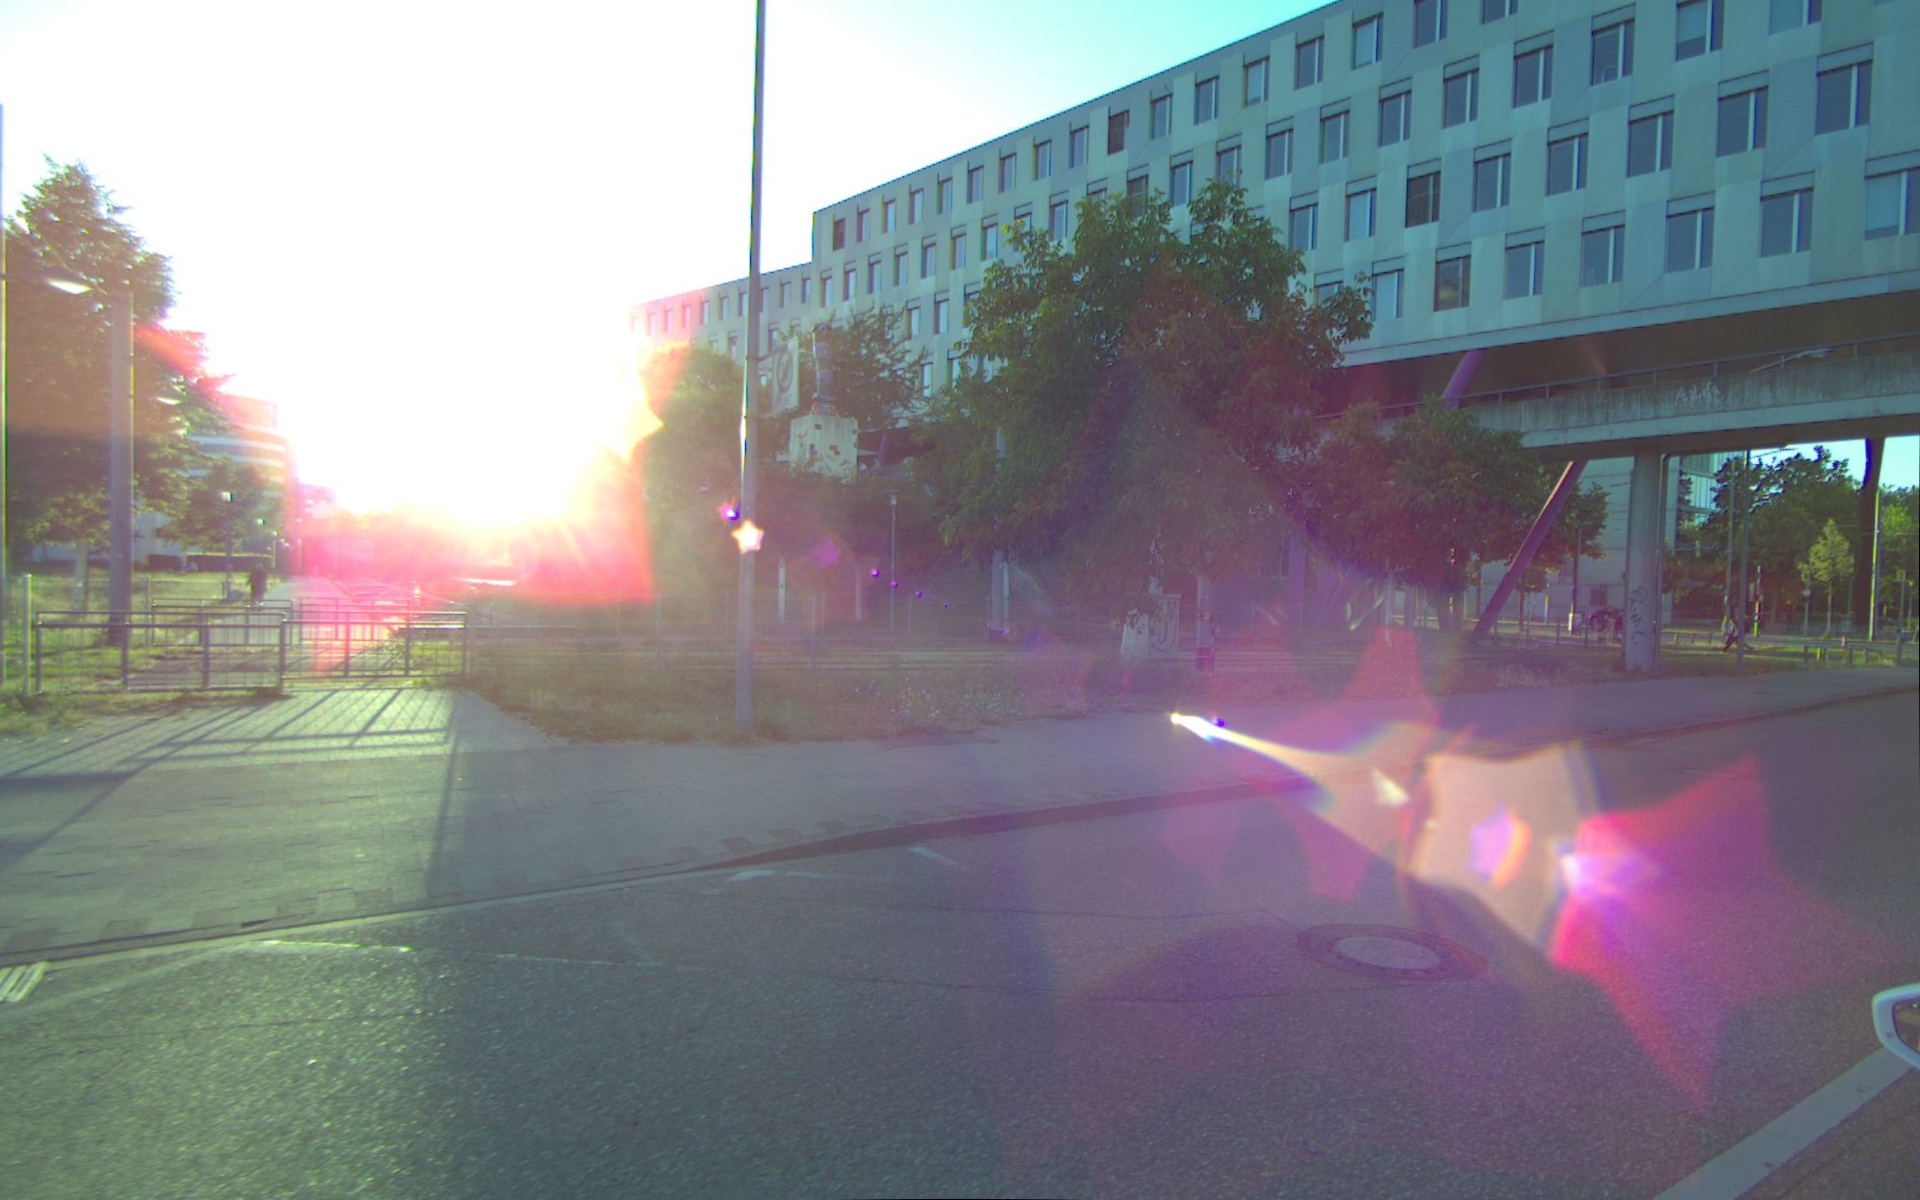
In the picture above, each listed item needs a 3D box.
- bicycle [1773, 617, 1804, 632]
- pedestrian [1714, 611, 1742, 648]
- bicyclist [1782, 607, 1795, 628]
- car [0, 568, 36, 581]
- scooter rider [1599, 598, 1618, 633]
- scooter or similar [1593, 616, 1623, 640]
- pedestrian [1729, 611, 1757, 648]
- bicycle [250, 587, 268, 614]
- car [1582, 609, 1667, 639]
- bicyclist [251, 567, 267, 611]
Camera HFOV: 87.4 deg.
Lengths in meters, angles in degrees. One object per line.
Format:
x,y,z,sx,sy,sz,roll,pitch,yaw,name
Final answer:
70.751,2.101,85.781,1.935,1.143,0.559,2,1,33,bicycle
34.723,1.322,45.391,0.700,1.646,0.686,0,1,-15,pedestrian
70.748,1.506,85.777,0.746,1.746,0.551,2,2,33,bicyclist
-119.152,-3.192,126.496,3.835,1.635,1.688,0,1,-31,car
34.109,0.816,52.847,0.438,1.807,0.701,0,2,-36,scooter rider
34.097,1.467,52.879,0.498,1.217,1.205,0,2,-36,scooter or similar
35.550,1.334,45.591,0.700,1.686,0.700,0,1,-15,pedestrian
-24.632,-0.002,35.315,0.426,0.912,1.225,0,1,-31,bicycle
45.235,1.580,68.428,1.924,1.841,4.440,0,1,-33,car
-24.654,-0.393,35.346,0.419,1.515,0.510,0,2,-30,bicyclist
